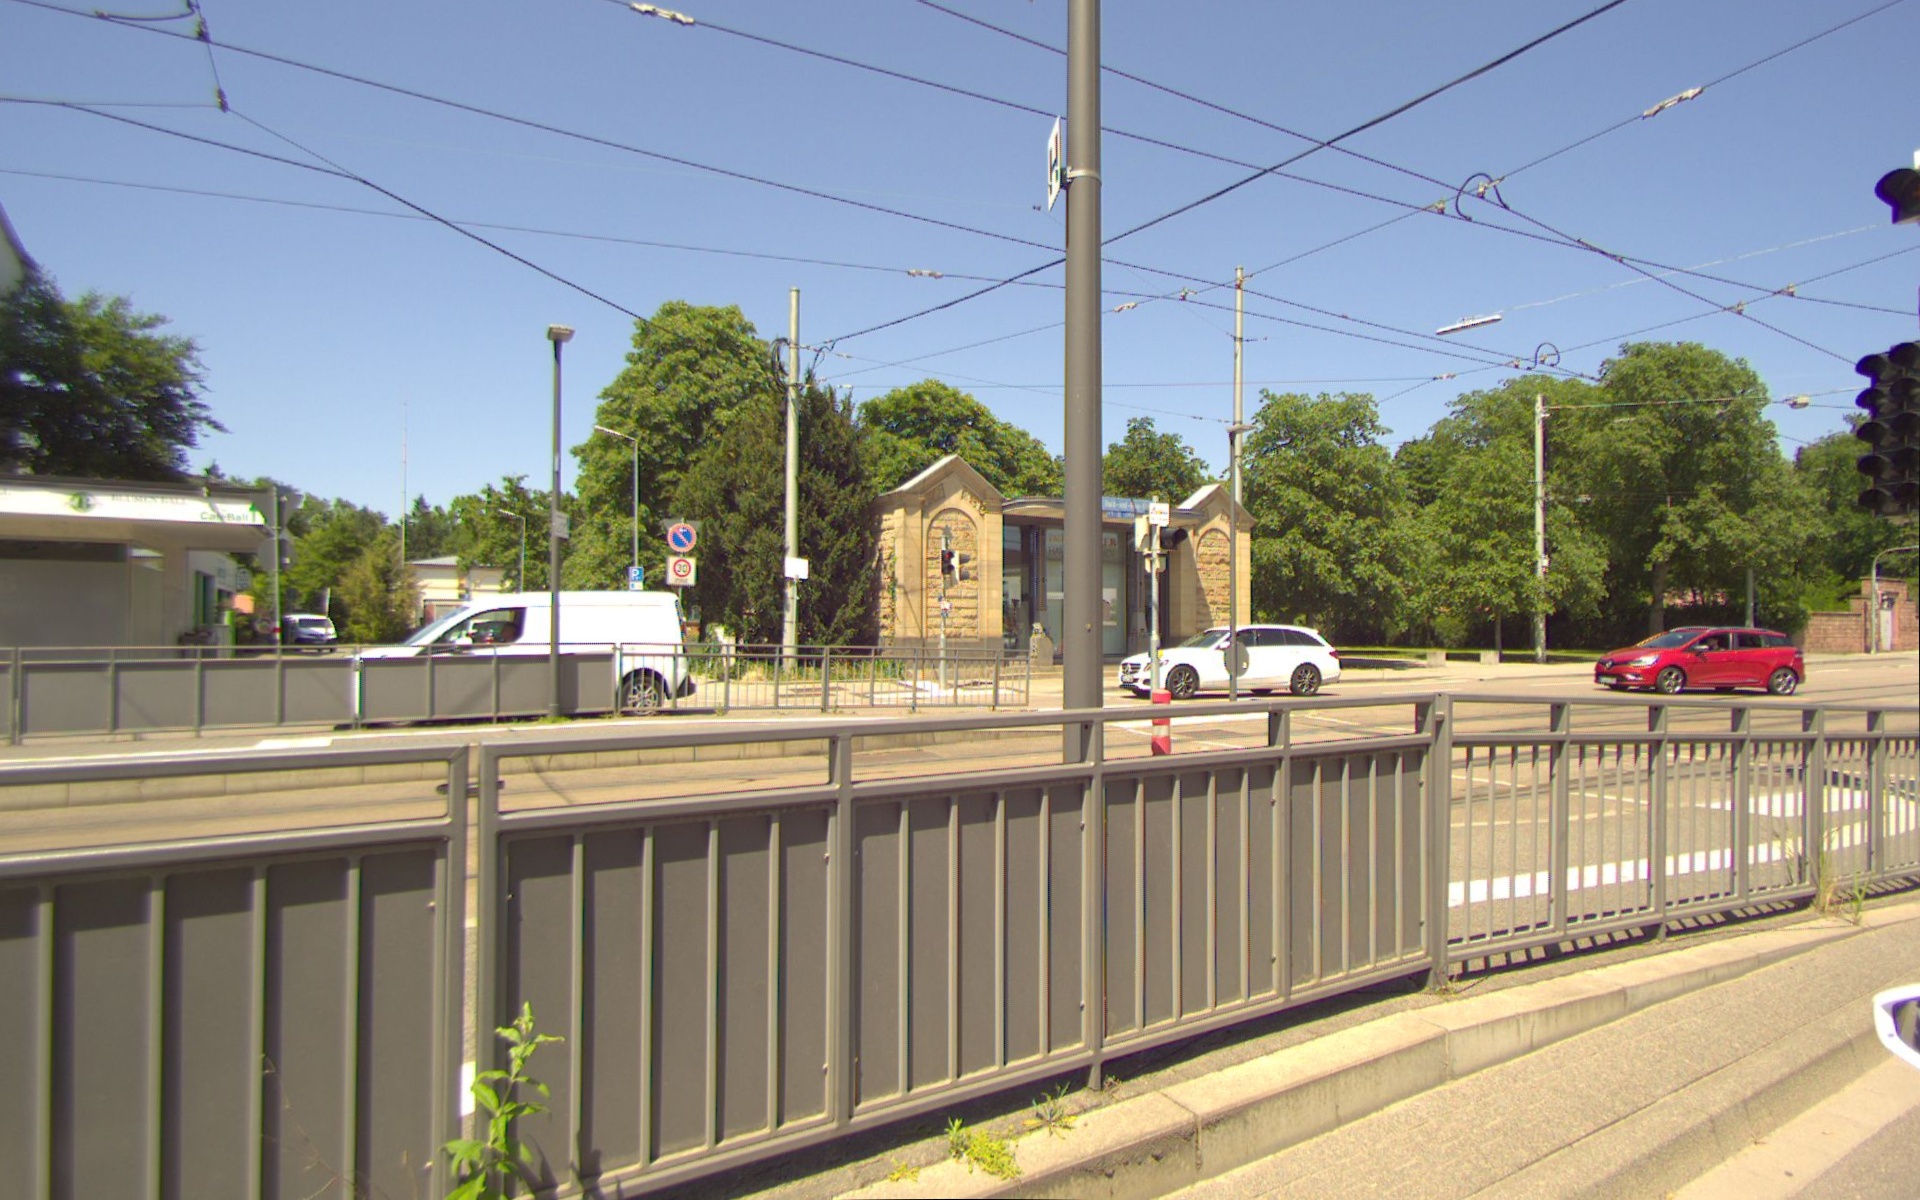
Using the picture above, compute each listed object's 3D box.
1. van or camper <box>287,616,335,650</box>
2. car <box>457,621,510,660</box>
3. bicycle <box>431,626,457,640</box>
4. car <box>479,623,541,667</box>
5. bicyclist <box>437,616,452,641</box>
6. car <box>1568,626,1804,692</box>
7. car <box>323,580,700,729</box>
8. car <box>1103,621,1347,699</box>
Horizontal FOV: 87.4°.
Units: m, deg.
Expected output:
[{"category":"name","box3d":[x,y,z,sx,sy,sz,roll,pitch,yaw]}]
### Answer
[{"category":"van or camper","box3d":[-32.242,1.616,49.852,1.676,1.587,3.784,1,-2,-38]},{"category":"car","box3d":[-18.722,1.589,39.398,1.625,1.465,3.784,1,-3,-29]},{"category":"bicycle","box3d":[-29.952,1.898,58.302,2.162,0.798,0.615,-1,-2,41]},{"category":"car","box3d":[-15.310,1.519,34.114,1.624,1.388,3.785,1,-3,-29]},{"category":"bicyclist","box3d":[-29.910,1.661,58.268,0.522,1.454,0.619,-1,-1,42]},{"category":"car","box3d":[16.259,1.306,22.619,4.095,1.414,1.823,0,-1,-4]},{"category":"car","box3d":[-6.257,0.747,14.354,4.640,1.840,1.848,1,-2,-29]},{"category":"car","box3d":[5.392,1.198,20.574,4.548,1.487,1.818,0,-3,-16]}]
